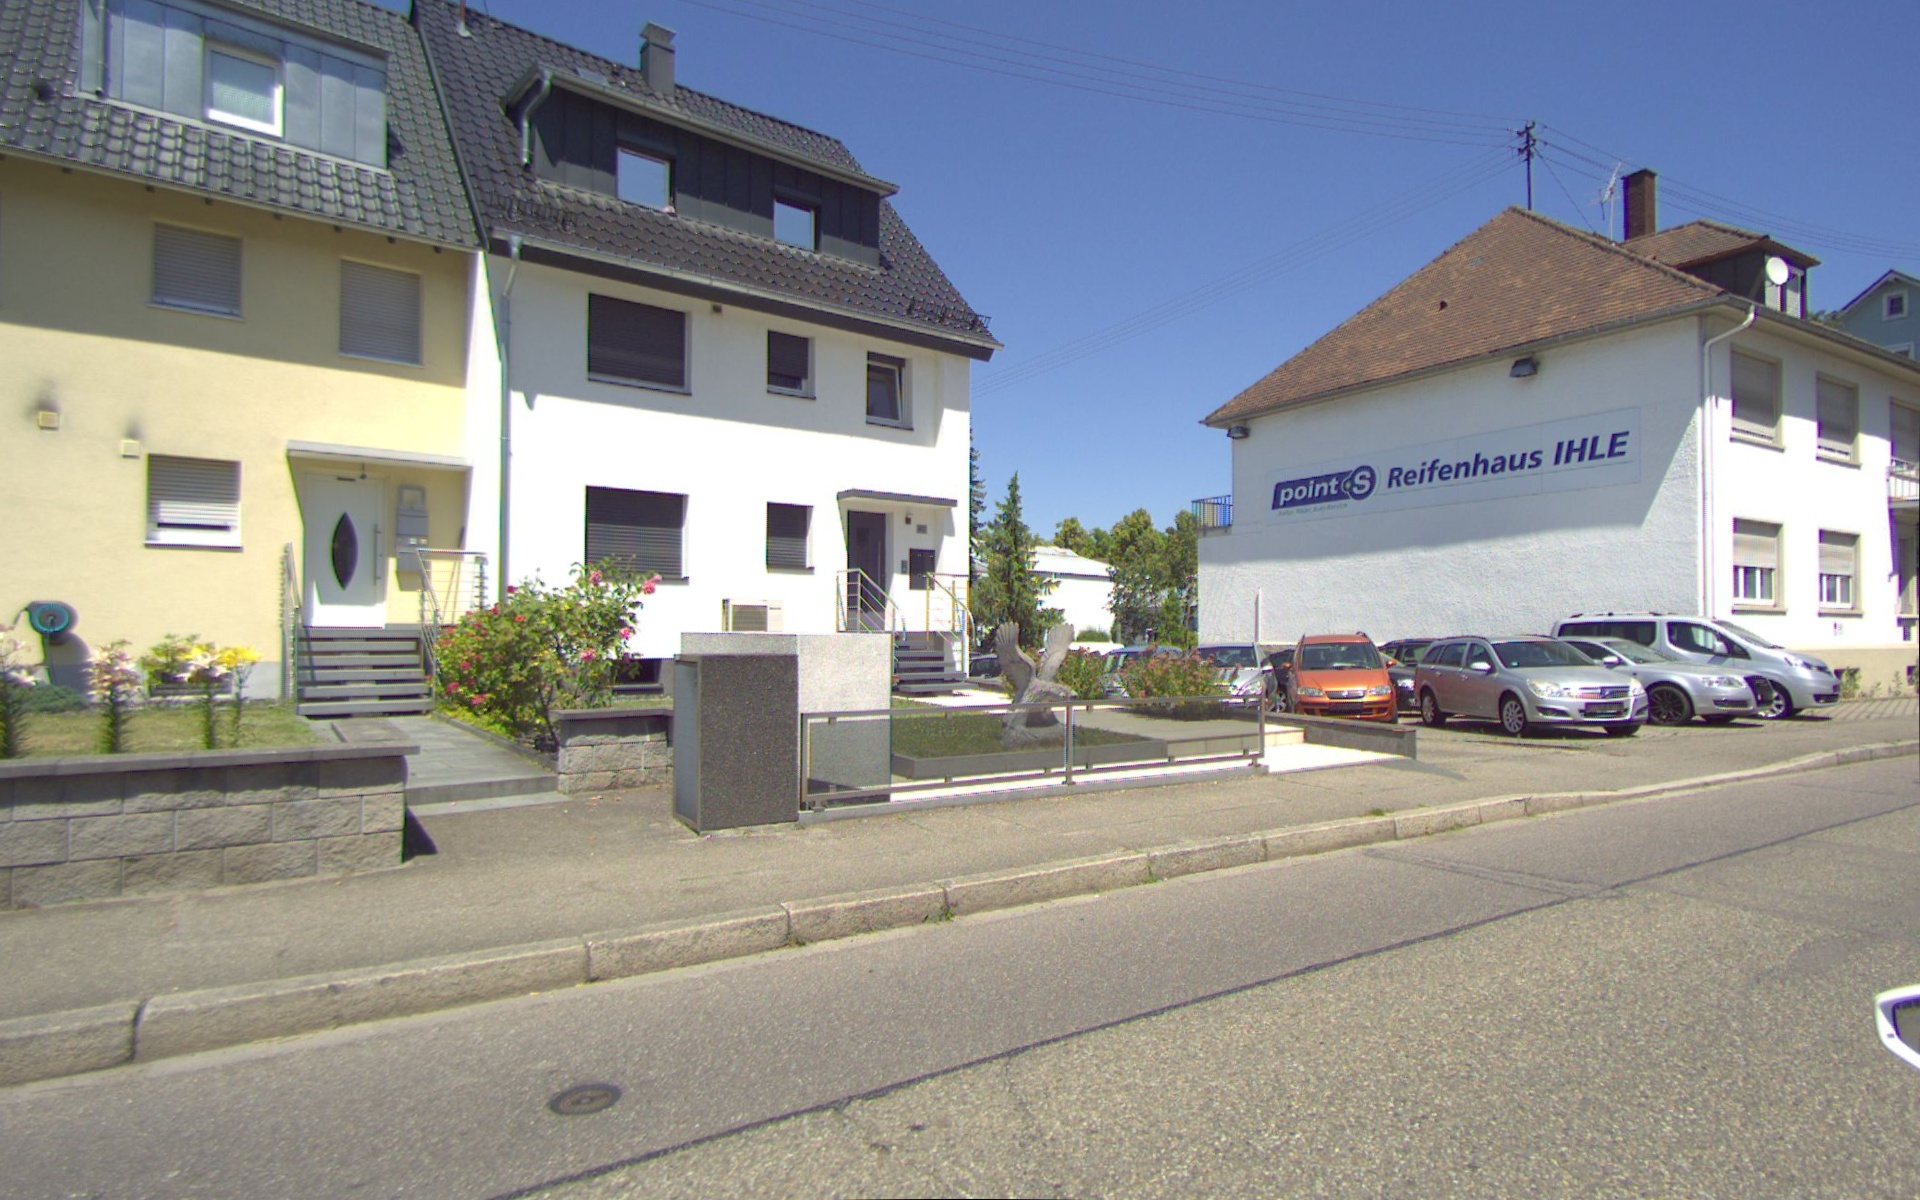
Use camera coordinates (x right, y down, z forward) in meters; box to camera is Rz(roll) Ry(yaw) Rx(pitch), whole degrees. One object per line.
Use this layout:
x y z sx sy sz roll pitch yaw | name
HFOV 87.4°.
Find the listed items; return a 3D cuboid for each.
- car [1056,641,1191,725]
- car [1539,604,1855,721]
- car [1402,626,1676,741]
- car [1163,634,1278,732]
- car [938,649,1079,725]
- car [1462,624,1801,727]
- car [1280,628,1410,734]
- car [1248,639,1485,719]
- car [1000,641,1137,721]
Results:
3.695 1.799 22.177 1.792 1.645 3.940 -4 -5 26 | car
13.436 1.149 18.577 1.833 1.901 4.321 1 -4 -37 | car
8.765 1.245 15.729 1.839 1.515 4.277 -1 -3 1 | car
5.335 1.647 20.236 1.960 1.750 4.002 -3 -4 18 | car
1.370 2.283 26.823 1.795 1.778 4.173 -5 -4 34 | car
11.347 1.258 17.352 1.952 1.515 4.454 0 -3 -29 | car
6.786 1.410 18.080 1.816 1.665 4.210 -2 -3 17 | car
8.593 1.756 21.668 1.952 1.514 4.456 0 -6 -29 | car
2.809 1.962 25.072 1.793 1.778 4.177 -5 -4 30 | car
